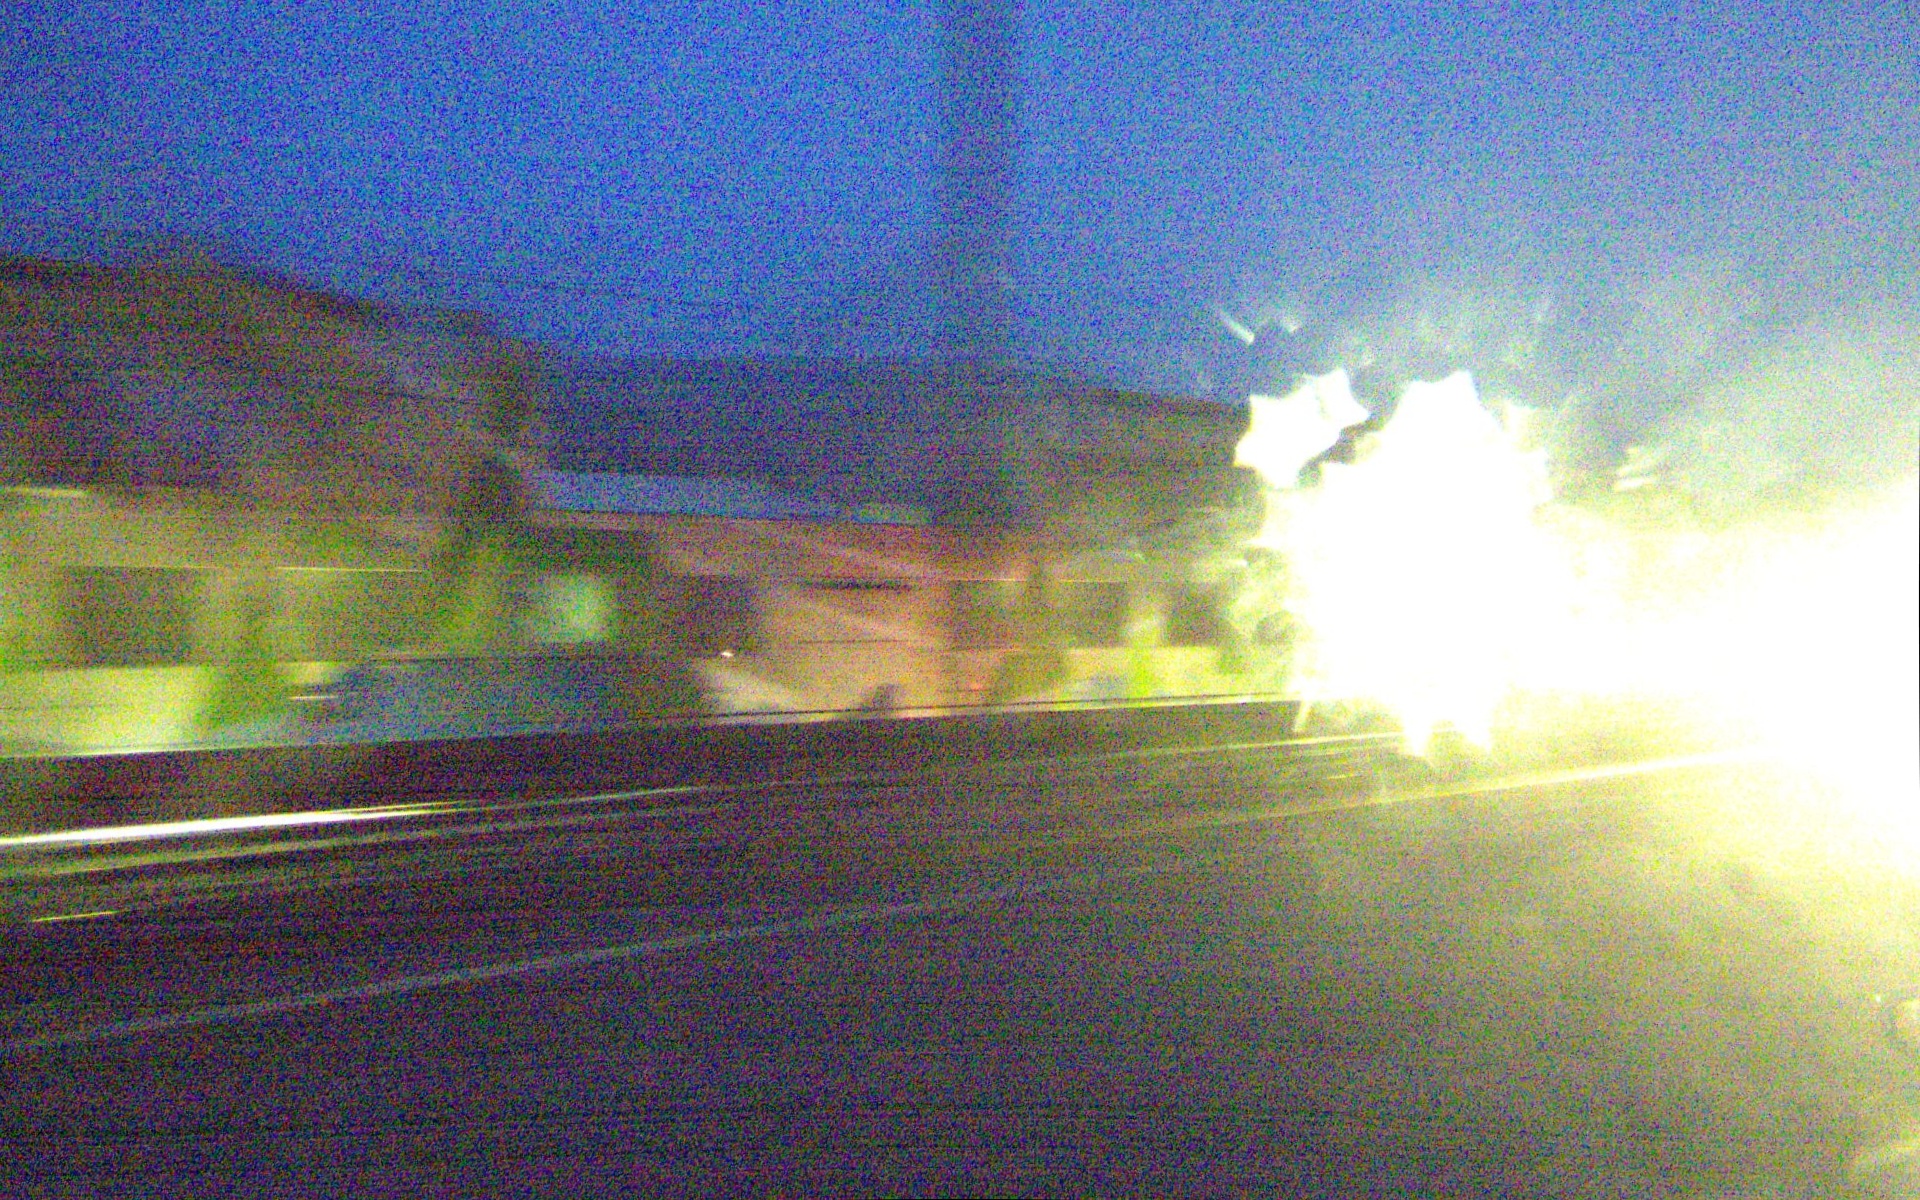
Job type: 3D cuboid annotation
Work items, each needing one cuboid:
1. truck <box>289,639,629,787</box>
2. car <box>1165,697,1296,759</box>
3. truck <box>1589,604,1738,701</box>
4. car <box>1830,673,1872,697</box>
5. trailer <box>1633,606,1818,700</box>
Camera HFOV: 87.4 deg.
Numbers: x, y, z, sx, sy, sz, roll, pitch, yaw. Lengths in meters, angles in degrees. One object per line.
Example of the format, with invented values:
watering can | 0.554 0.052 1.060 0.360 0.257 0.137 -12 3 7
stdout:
truck | -13.533 2.915 27.792 7.998 3.529 2.747 1 0 -26
car | 9.056 4.233 33.567 4.243 1.698 1.799 2 -1 -31
truck | 37.445 2.732 53.474 7.220 4.860 3.317 2 0 -25
car | 67.315 6.393 75.890 4.258 1.591 1.793 2 -1 -40
trailer | 42.686 2.890 55.904 11.399 4.860 3.317 2 0 -25
